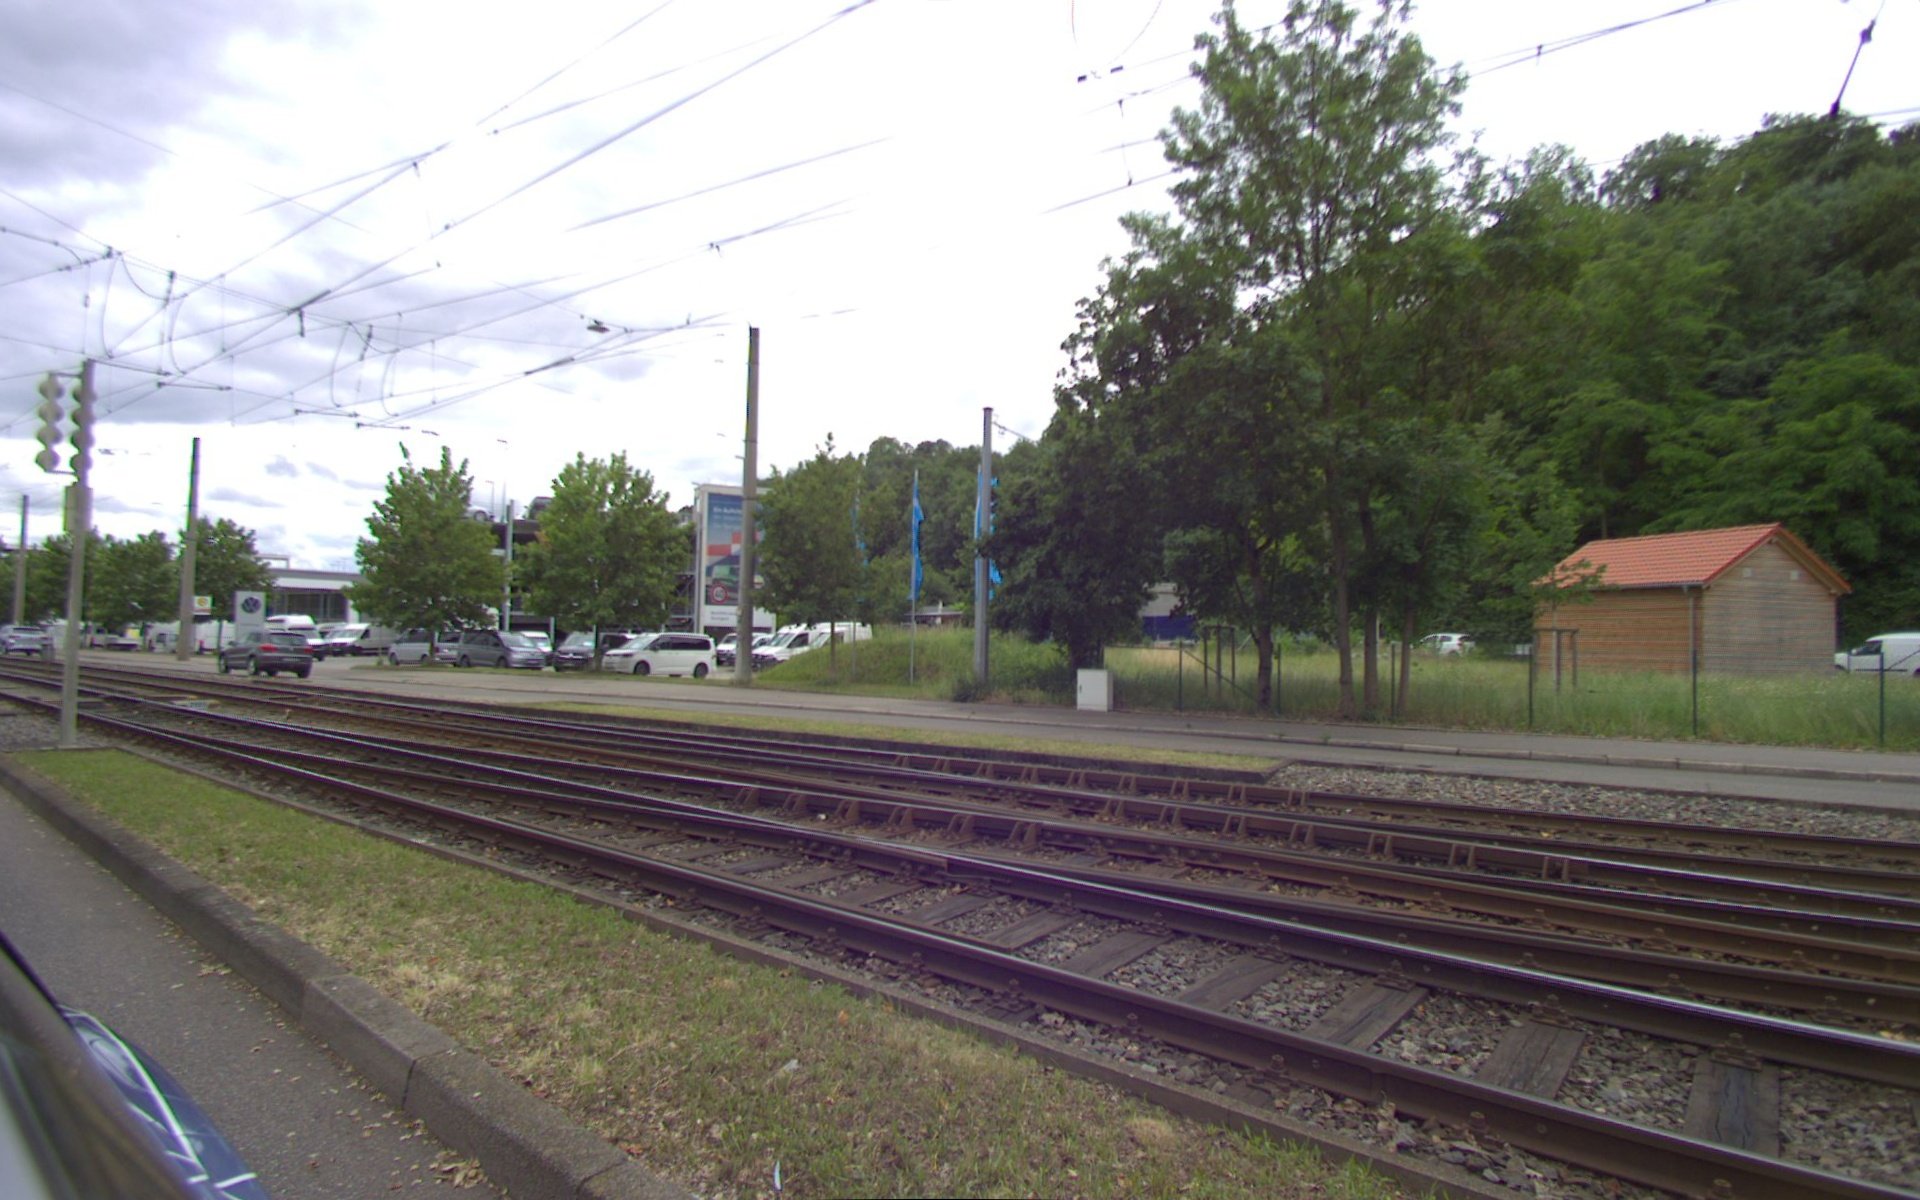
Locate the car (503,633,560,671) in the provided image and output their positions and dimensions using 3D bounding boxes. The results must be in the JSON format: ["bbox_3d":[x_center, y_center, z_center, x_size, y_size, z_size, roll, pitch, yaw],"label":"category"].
[{"bbox_3d":[-24.518,2.927,57.804,1.872,1.907,4.606,-1,0,-38],"label":"car"}]

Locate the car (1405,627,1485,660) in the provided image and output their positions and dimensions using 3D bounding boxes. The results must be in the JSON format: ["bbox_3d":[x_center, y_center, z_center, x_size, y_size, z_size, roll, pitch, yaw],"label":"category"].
[{"bbox_3d":[26.483,2.327,55.384,1.727,1.625,3.693,-1,0,-25],"label":"car"}]

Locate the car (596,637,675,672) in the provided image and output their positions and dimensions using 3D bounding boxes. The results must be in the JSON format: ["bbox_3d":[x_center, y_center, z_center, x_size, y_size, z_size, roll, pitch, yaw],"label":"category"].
[{"bbox_3d":[-19.430,3.207,60.609,4.165,1.850,1.986,-1,0,-31],"label":"car"}]

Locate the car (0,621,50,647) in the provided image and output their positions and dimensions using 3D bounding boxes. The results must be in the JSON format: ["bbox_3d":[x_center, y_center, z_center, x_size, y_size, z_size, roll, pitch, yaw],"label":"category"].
[{"bbox_3d":[-85.630,3.066,91.502,2.102,2.225,4.589,-1,0,32],"label":"car"}]

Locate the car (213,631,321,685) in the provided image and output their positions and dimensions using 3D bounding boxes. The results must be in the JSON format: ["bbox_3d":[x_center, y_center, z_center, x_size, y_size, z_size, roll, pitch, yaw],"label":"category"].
[{"bbox_3d":[-24.930,2.075,36.365,4.129,1.731,1.882,-1,-6,37],"label":"car"}]

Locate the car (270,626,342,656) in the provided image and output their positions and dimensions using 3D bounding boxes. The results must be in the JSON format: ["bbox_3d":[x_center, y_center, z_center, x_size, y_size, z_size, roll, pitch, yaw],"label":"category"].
[{"bbox_3d":[-53.668,3.313,83.112,2.107,2.225,4.579,-1,0,39],"label":"car"}]

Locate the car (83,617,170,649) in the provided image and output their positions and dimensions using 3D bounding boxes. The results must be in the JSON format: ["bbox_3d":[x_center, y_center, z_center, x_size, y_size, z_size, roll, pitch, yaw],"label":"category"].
[{"bbox_3d":[-61.488,2.384,74.728,2.102,2.225,4.589,-1,0,32],"label":"car"}]

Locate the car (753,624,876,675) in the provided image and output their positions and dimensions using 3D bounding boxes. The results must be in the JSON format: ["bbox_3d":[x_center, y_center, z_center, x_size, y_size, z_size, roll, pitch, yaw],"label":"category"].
[{"bbox_3d":[-7.327,2.449,51.101,5.751,2.284,2.060,-1,0,-28],"label":"car"}]

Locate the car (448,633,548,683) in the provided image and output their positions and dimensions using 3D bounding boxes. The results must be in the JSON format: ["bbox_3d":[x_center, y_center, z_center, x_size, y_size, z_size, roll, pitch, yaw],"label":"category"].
[{"bbox_3d":[-21.822,2.676,47.731,4.763,2.132,2.118,-1,0,34],"label":"car"}]

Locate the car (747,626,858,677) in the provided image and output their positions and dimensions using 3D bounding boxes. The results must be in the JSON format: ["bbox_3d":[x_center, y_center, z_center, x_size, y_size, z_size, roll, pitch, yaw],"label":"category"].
[{"bbox_3d":[-8.425,2.716,54.418,5.568,2.479,1.986,-1,0,-31],"label":"car"}]

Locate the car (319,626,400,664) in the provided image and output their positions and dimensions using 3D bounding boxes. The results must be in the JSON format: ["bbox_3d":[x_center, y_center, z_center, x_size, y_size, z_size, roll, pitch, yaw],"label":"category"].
[{"bbox_3d":[-46.481,3.429,78.510,2.293,2.642,6.036,-1,0,6],"label":"car"}]

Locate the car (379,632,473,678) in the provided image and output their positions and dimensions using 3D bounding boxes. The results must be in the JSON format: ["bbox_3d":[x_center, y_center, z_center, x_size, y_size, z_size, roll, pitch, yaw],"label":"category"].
[{"bbox_3d":[-27.052,2.753,51.195,4.761,2.132,2.119,-1,0,32],"label":"car"}]

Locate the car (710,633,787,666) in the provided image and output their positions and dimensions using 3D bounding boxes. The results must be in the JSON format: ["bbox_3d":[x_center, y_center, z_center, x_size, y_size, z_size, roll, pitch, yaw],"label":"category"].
[{"bbox_3d":[-12.985,3.014,62.211,4.165,1.850,1.986,-1,0,-31],"label":"car"}]

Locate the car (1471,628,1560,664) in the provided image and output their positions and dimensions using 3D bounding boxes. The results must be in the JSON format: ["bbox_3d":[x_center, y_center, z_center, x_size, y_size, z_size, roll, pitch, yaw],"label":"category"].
[{"bbox_3d":[28.178,2.305,51.429,1.727,1.625,3.693,-1,0,-22],"label":"car"}]

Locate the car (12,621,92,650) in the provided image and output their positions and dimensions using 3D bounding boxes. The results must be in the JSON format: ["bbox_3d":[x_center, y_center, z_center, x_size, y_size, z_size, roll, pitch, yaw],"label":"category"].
[{"bbox_3d":[-75.542,2.936,84.232,2.102,2.225,4.589,-1,0,32],"label":"car"}]

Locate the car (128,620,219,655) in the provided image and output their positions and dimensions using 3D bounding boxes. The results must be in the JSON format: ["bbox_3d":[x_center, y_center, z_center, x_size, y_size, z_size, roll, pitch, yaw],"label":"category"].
[{"bbox_3d":[-54.972,2.586,70.781,2.102,2.225,4.589,-1,0,32],"label":"car"}]

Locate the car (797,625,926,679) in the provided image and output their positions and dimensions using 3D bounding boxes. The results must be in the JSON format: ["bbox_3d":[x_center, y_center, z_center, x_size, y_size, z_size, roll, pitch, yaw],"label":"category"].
[{"bbox_3d":[-4.700,2.415,48.359,5.762,2.284,2.060,-1,0,-28],"label":"car"}]

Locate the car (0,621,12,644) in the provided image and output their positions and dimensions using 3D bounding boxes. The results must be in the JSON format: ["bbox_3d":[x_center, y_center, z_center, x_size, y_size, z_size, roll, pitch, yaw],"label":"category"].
[{"bbox_3d":[-94.086,3.175,96.840,2.102,2.225,4.589,-1,0,32],"label":"car"}]

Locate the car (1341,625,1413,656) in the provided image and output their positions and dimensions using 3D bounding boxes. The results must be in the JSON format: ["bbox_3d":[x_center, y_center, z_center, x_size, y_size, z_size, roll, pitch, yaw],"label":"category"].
[{"bbox_3d":[24.471,2.352,59.455,1.727,1.625,3.693,-1,0,-25],"label":"car"}]

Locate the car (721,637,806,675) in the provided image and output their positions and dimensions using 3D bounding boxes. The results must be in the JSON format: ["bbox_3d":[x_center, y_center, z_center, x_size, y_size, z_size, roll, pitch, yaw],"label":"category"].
[{"bbox_3d":[-10.920,3.062,56.249,4.165,1.850,1.986,-1,0,-31],"label":"car"}]

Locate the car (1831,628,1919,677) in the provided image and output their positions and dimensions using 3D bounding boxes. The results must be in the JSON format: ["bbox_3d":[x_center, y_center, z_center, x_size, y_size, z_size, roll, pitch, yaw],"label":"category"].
[{"bbox_3d":[34.183,1.872,36.528,1.877,1.625,3.693,-1,0,-22],"label":"car"}]

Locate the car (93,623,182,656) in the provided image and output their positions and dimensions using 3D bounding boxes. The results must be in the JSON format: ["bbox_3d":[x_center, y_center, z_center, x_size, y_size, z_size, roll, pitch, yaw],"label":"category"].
[{"bbox_3d":[-59.506,2.810,73.279,2.102,2.225,4.589,-1,0,32],"label":"car"}]

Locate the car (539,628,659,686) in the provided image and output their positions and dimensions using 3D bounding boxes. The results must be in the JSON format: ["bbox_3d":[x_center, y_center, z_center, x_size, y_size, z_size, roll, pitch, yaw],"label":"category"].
[{"bbox_3d":[-16.004,2.459,45.047,1.977,2.284,4.717,-1,0,37],"label":"car"}]

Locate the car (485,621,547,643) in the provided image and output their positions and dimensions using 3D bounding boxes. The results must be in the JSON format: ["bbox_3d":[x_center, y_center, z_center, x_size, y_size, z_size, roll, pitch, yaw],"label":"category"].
[{"bbox_3d":[-41.820,2.972,95.371,5.138,1.850,1.986,-1,0,-29],"label":"car"}]

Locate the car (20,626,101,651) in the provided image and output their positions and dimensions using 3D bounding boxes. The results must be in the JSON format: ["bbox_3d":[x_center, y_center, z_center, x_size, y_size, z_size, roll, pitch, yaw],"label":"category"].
[{"bbox_3d":[-73.585,3.097,82.823,2.102,1.854,4.589,-1,0,32],"label":"car"}]

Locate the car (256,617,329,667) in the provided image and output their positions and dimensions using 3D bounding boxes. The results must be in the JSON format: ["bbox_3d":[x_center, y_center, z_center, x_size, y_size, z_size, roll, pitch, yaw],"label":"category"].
[{"bbox_3d":[-43.184,2.655,65.402,6.154,3.034,2.291,-1,0,40],"label":"car"}]

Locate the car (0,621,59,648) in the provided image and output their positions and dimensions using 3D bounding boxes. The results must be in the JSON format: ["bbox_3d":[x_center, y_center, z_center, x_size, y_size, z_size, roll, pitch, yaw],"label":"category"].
[{"bbox_3d":[-83.607,3.040,90.127,2.102,2.225,4.589,-1,0,32],"label":"car"}]

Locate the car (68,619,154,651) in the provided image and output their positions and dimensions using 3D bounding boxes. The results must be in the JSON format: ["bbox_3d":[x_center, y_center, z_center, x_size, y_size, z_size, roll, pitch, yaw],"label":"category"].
[{"bbox_3d":[-63.866,2.613,76.211,2.102,2.225,4.589,-1,0,32],"label":"car"}]

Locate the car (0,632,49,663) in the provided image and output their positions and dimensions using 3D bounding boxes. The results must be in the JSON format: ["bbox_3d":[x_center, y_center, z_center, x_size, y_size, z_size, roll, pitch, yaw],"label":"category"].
[{"bbox_3d":[-49.435,2.469,52.792,4.168,1.590,1.976,-1,-3,35],"label":"car"}]

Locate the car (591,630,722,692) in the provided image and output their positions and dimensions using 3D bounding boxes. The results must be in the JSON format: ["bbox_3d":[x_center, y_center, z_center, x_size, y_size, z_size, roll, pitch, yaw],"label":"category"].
[{"bbox_3d":[-12.837,2.522,43.107,1.997,2.284,5.206,-1,0,37],"label":"car"}]
